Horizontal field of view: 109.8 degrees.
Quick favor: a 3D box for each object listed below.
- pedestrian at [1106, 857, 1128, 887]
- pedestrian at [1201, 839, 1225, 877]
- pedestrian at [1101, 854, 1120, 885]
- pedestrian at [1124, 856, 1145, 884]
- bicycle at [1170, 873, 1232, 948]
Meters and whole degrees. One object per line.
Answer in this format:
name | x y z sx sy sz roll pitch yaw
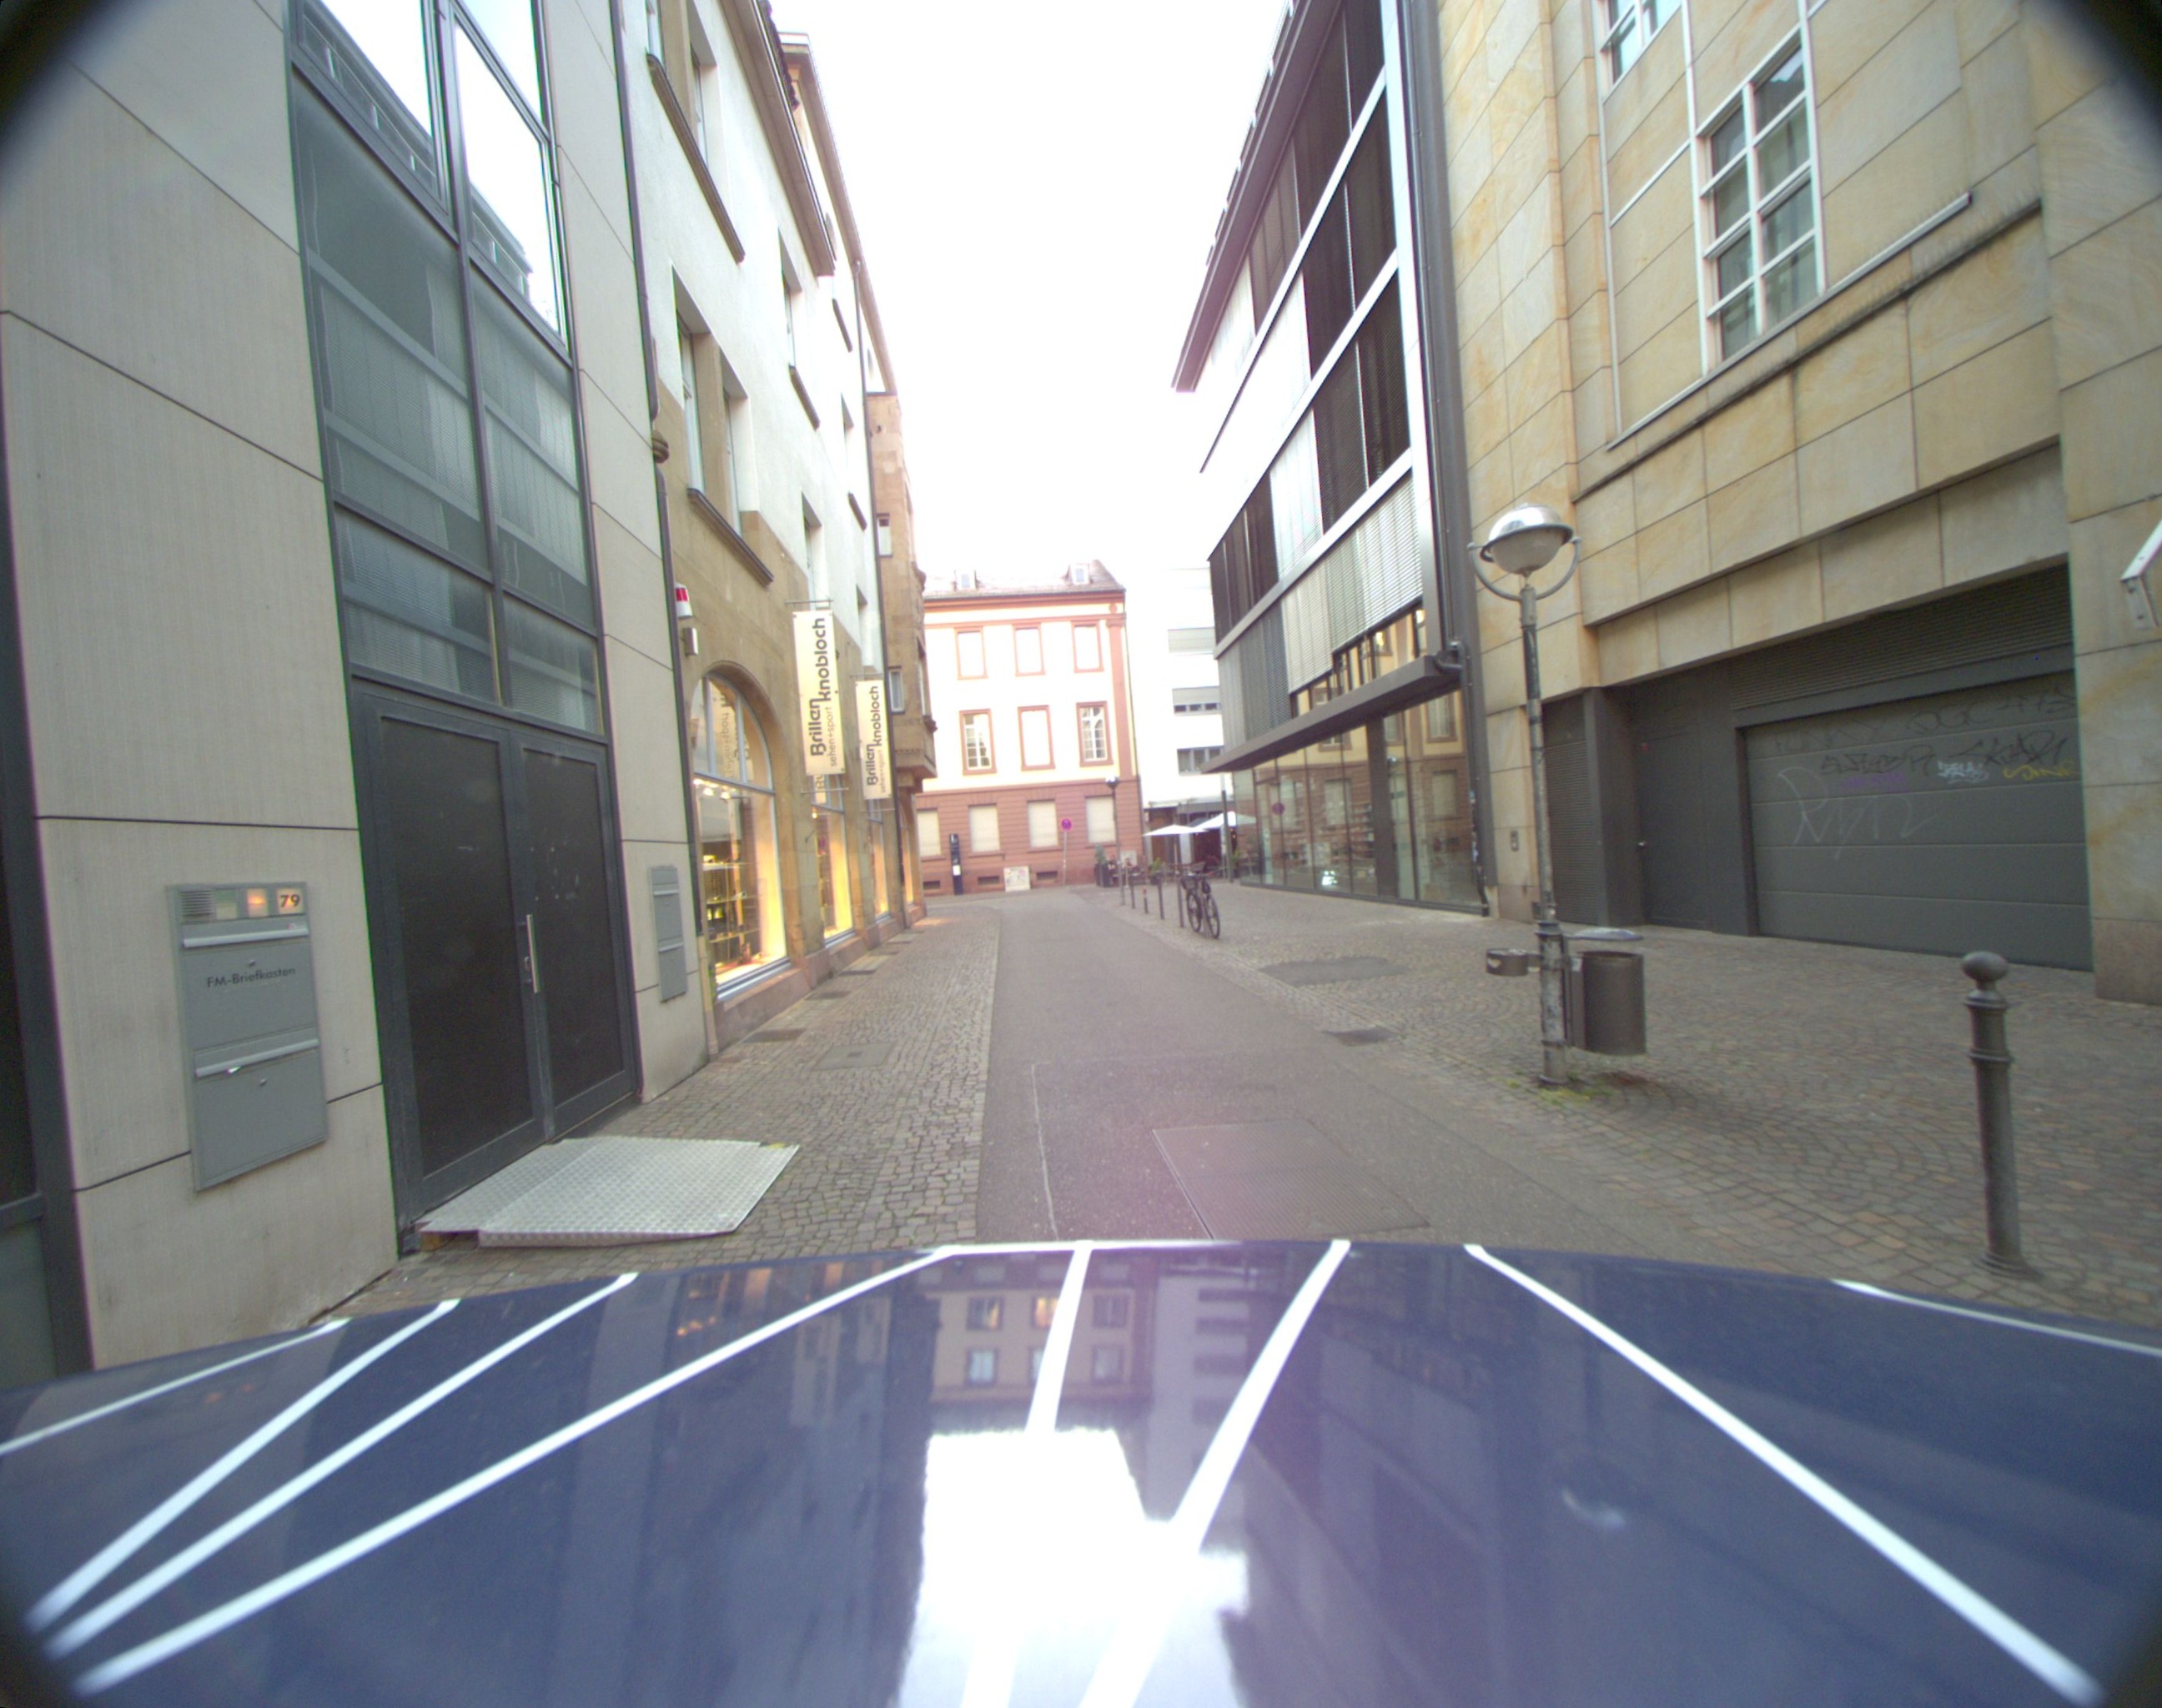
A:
pedestrian | 1.545 0.760 32.539 0.674 1.177 0.792 -5 2 -10
pedestrian | 5.910 0.197 34.134 0.725 1.639 0.792 -5 1 -10
pedestrian | 1.319 0.674 34.077 0.673 1.324 0.792 -4 2 -7
pedestrian | 2.364 0.707 33.643 0.673 1.177 0.792 -4 2 -7
bicycle | 2.043 0.929 13.165 0.411 1.126 1.929 -5 1 -9
